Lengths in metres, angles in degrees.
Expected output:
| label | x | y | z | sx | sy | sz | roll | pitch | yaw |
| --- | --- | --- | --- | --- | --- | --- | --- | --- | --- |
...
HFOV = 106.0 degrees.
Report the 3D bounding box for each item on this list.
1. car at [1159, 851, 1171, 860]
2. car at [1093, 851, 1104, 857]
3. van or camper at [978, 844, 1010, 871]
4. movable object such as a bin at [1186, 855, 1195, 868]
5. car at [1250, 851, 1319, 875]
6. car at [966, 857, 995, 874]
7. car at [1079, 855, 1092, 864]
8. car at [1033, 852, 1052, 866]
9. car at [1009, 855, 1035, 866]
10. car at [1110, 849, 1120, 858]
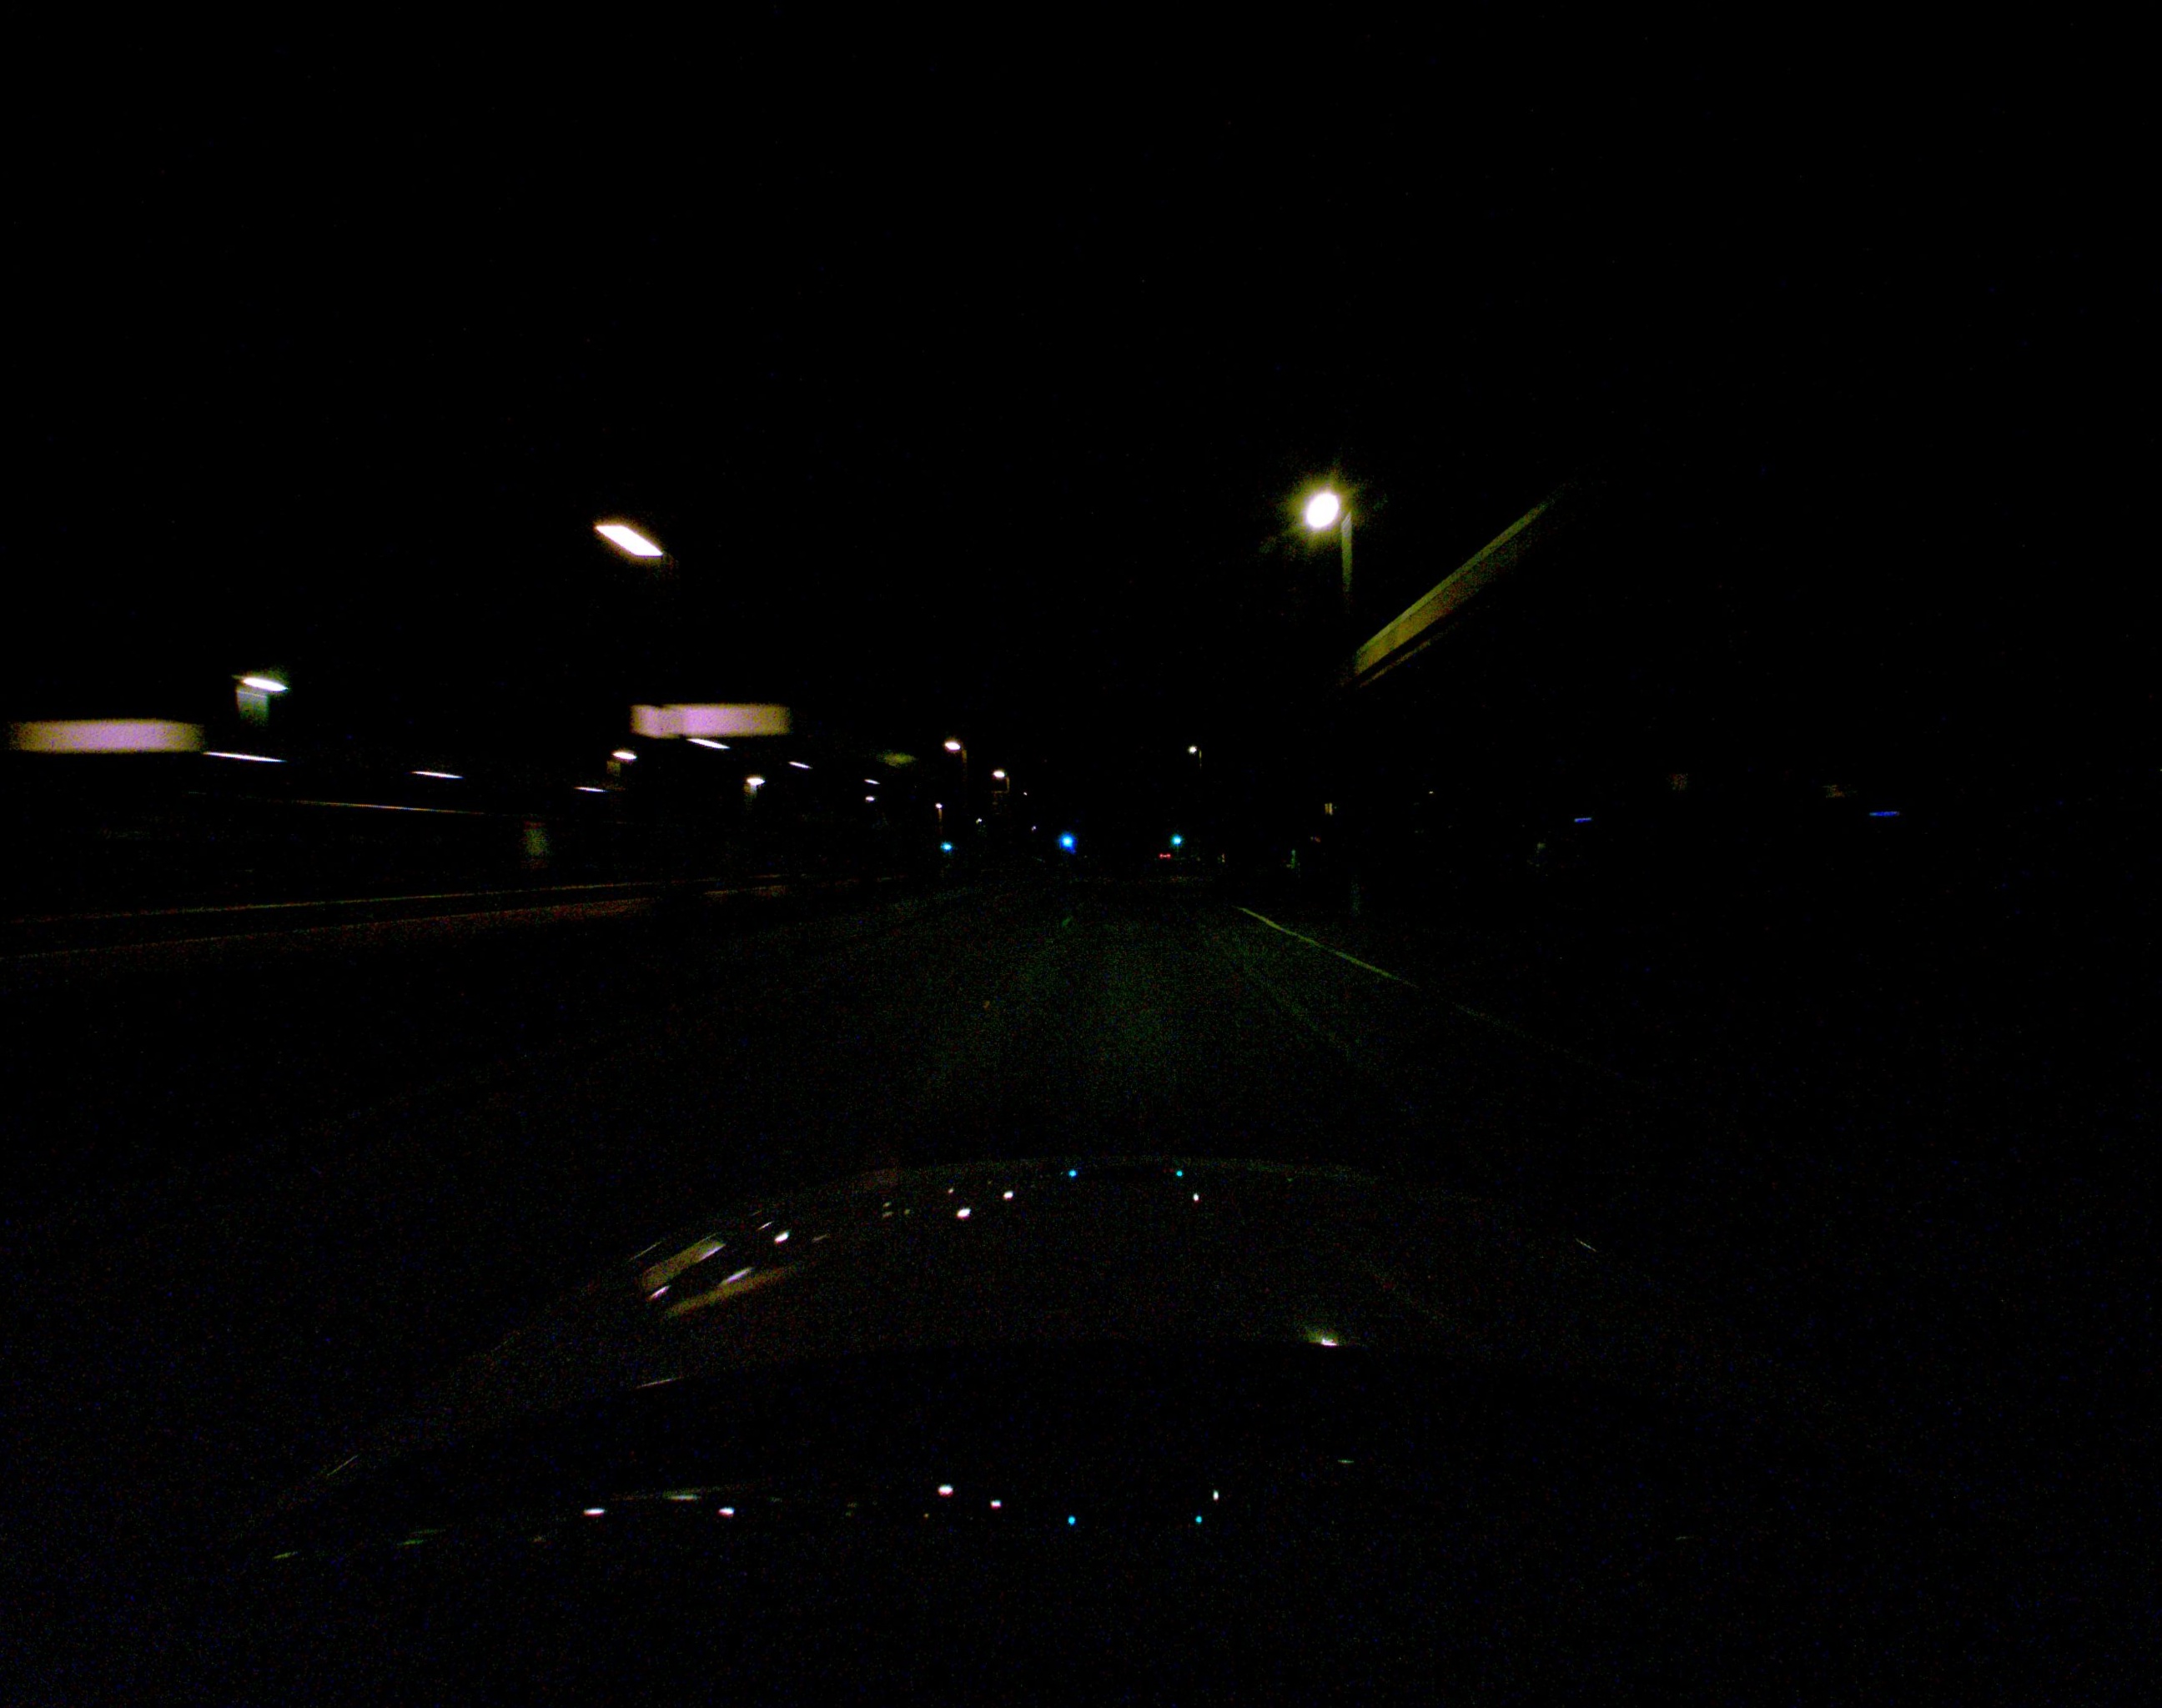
| label | x | y | z | sx | sy | sz | roll | pitch | yaw |
| --- | --- | --- | --- | --- | --- | --- | --- | --- | --- |
| car | 15.422 | 0.348 | 149.360 | 2.151 | 1.583 | 4.018 | -1 | 0 | 5 |
| car | 3.908 | 0.034 | 179.704 | 1.983 | 1.338 | 5.443 | -1 | 0 | 7 |
| van or camper | -9.064 | 0.315 | 85.240 | 2.263 | 2.647 | 5.670 | -3 | 0 | 3 |
| movable object such as a bin | 10.510 | 0.694 | 78.027 | 0.719 | 1.201 | 0.722 | -1 | 0 | 14 |
| car | 12.193 | 0.537 | 48.946 | 3.746 | 1.354 | 1.861 | -1 | 0 | 5 |
| car | -9.728 | 1.093 | 78.831 | 1.637 | 1.339 | 4.552 | -5 | 0 | 7 |
| car | 0.918 | 1.121 | 160.122 | 1.983 | 1.628 | 4.687 | -1 | 0 | 7 |
| car | -5.290 | 0.637 | 112.107 | 1.848 | 1.904 | 4.887 | -1 | 0 | 5 |
| car | -7.253 | 0.841 | 100.648 | 3.016 | 1.326 | 1.535 | -1 | 0 | 2 |
| car | 8.814 | -0.217 | 209.888 | 2.080 | 2.013 | 4.009 | -5 | 0 | 7 |
